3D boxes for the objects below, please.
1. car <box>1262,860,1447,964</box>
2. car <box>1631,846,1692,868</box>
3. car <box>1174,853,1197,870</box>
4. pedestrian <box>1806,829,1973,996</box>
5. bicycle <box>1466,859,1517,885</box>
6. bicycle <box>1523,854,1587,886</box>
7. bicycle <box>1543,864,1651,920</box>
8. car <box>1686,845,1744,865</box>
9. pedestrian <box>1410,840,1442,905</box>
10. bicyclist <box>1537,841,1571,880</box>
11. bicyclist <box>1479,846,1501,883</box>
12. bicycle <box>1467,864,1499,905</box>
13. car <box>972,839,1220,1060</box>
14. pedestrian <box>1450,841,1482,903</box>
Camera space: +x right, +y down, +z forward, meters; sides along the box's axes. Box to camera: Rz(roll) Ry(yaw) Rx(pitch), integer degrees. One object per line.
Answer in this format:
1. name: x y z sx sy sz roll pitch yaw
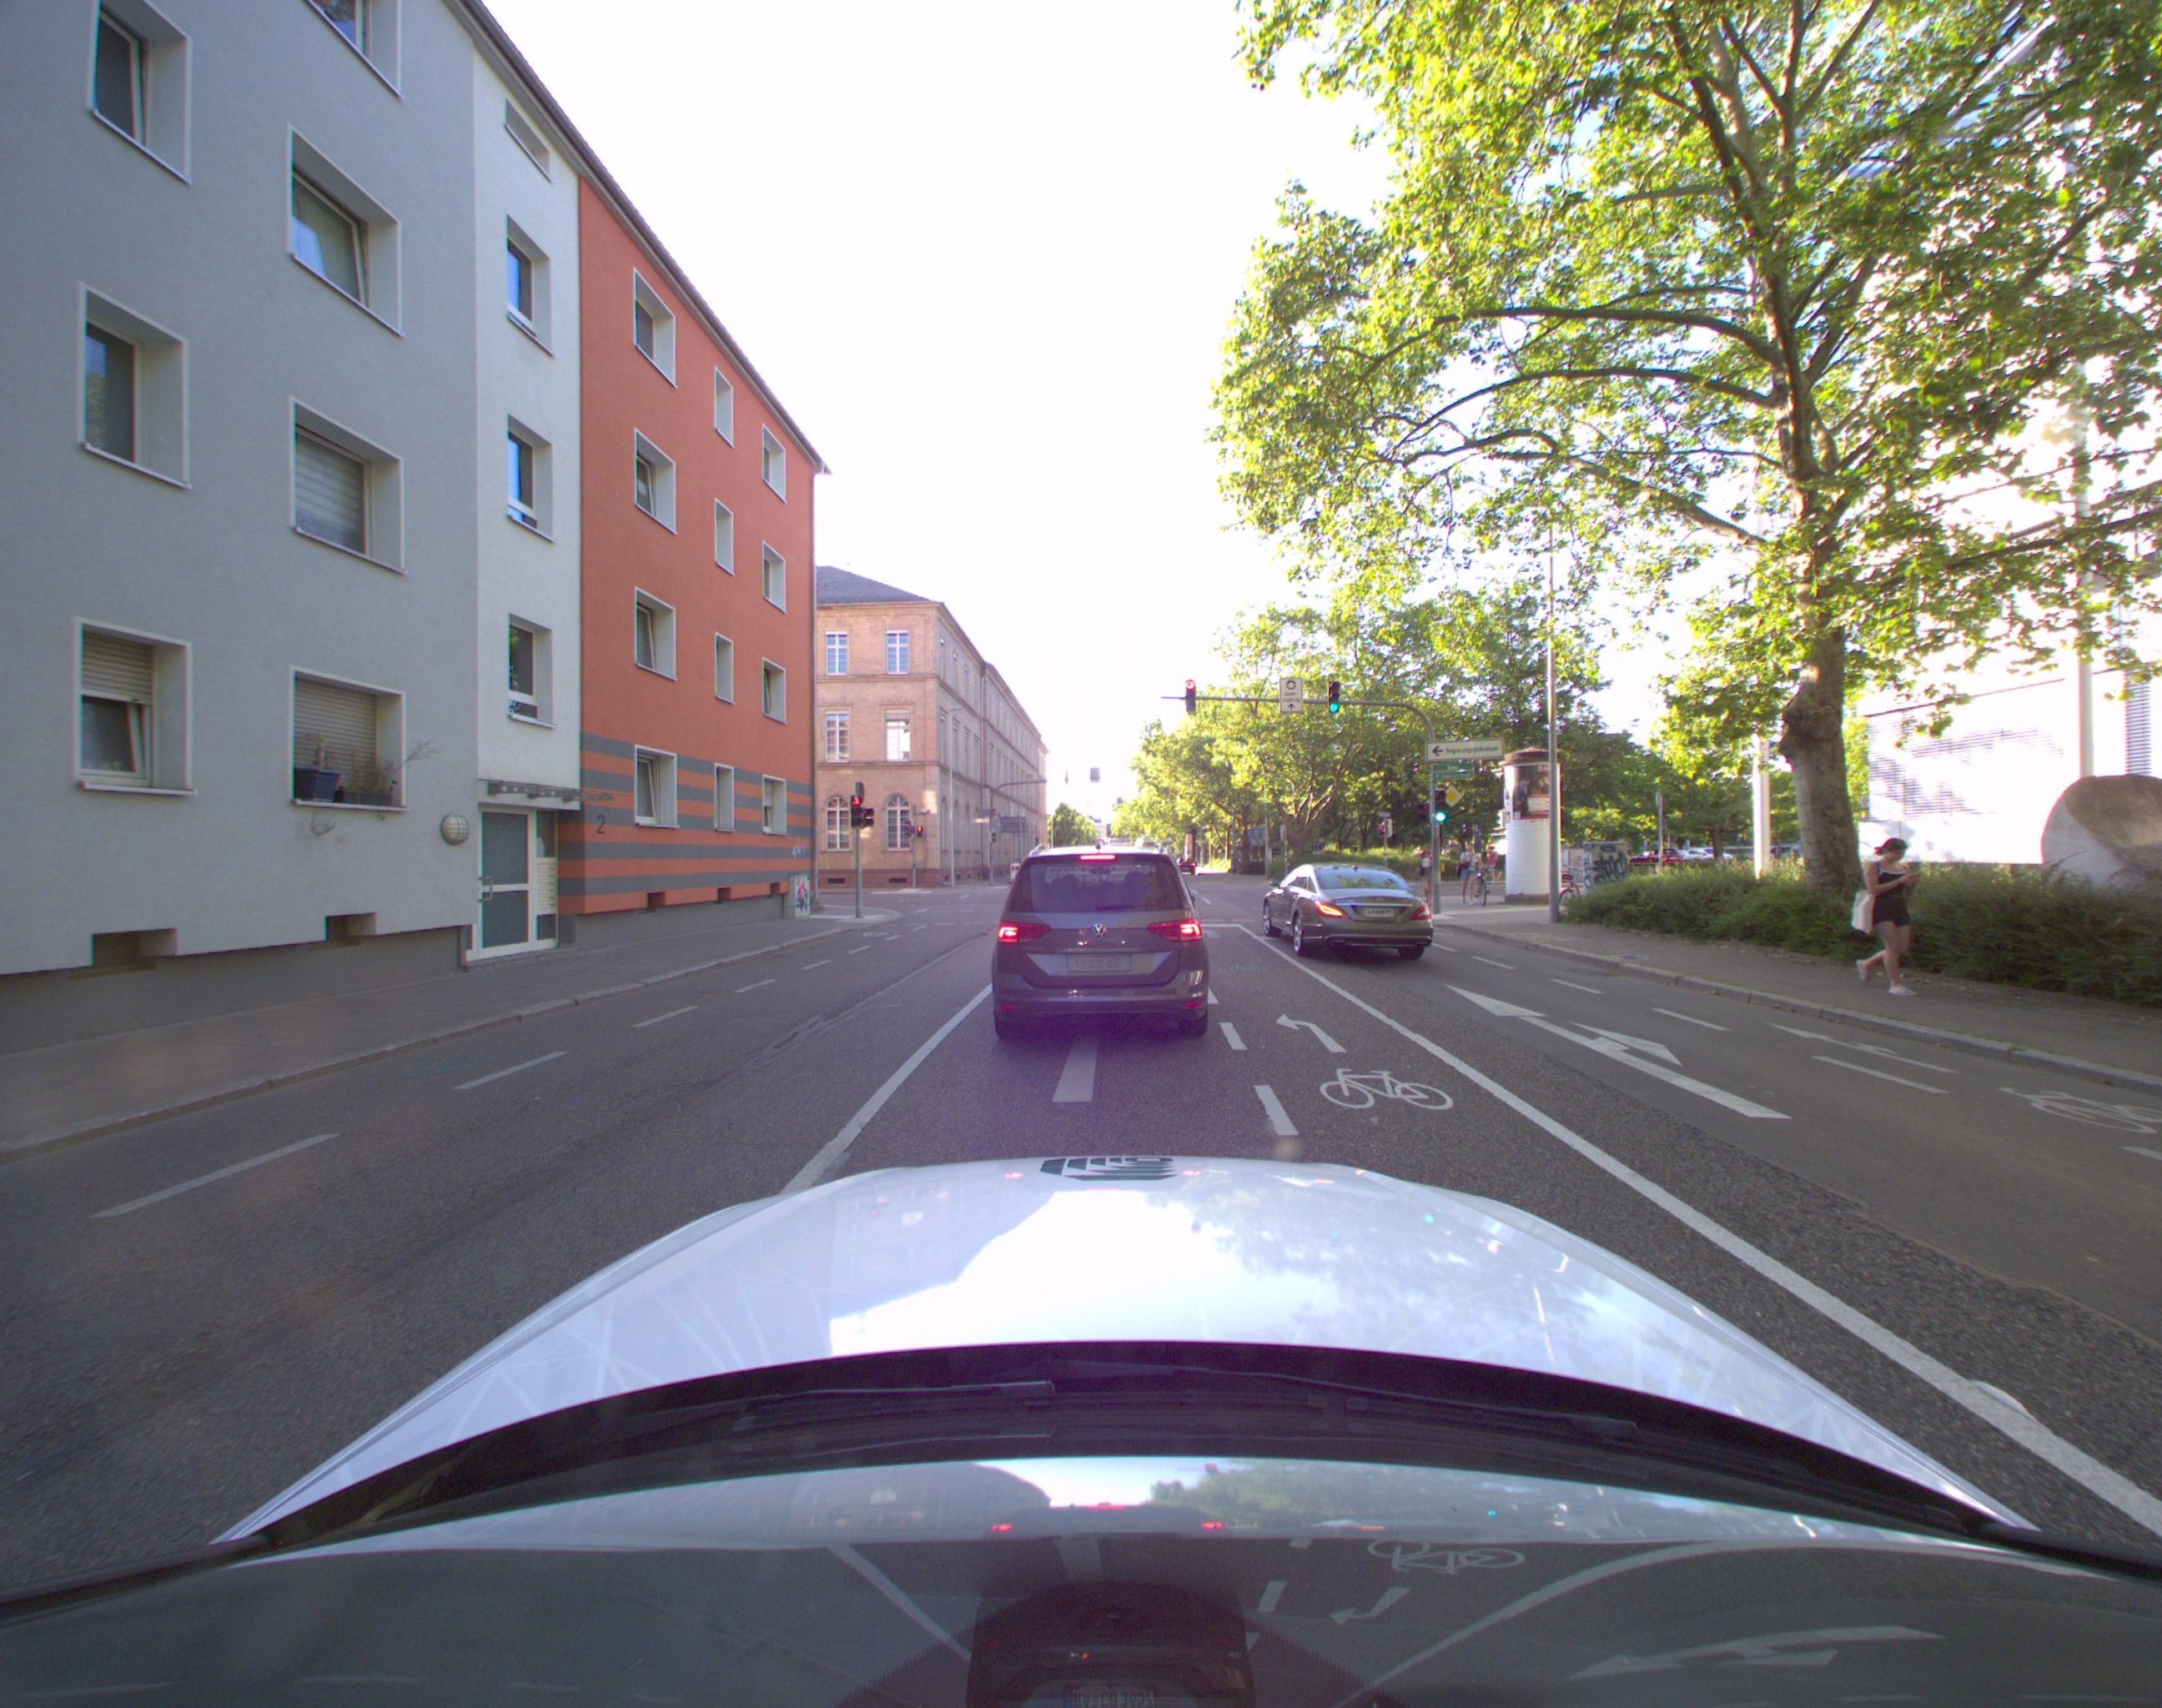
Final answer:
1. car: 4.260 0.811 13.473 1.835 1.429 4.522 0 0 4
2. car: 40.721 0.214 57.235 1.623 1.482 3.797 0 0 2
3. car: 9.222 0.680 72.075 1.683 1.440 3.904 2 0 2
4. pedestrian: 8.468 0.587 8.577 0.794 1.630 0.908 -3 0 4
5. bicycle: 18.907 0.823 37.497 2.022 1.220 0.600 0 -1 2
6. bicycle: 19.890 0.658 34.208 2.279 1.326 0.661 0 -1 3
7. bicycle: 11.037 0.808 17.457 1.968 1.190 0.528 0 -1 1
8. car: 48.445 0.071 62.319 1.566 1.468 3.797 0 0 2
9. pedestrian: 9.805 0.518 23.168 0.726 1.808 0.913 -2 -2 20
10. bicyclist: 19.845 0.272 34.211 0.959 1.615 0.871 0 -1 5
11. bicyclist: 18.838 0.464 37.506 0.707 1.697 0.676 0 -1 3
12. bicycle: 11.133 0.822 22.573 0.520 1.100 1.749 0 -1 17
13. car: 0.262 0.724 8.016 1.801 1.612 4.005 -1 -1 4
14. pedestrian: 10.786 0.508 22.838 0.678 1.697 0.975 0 -1 17
